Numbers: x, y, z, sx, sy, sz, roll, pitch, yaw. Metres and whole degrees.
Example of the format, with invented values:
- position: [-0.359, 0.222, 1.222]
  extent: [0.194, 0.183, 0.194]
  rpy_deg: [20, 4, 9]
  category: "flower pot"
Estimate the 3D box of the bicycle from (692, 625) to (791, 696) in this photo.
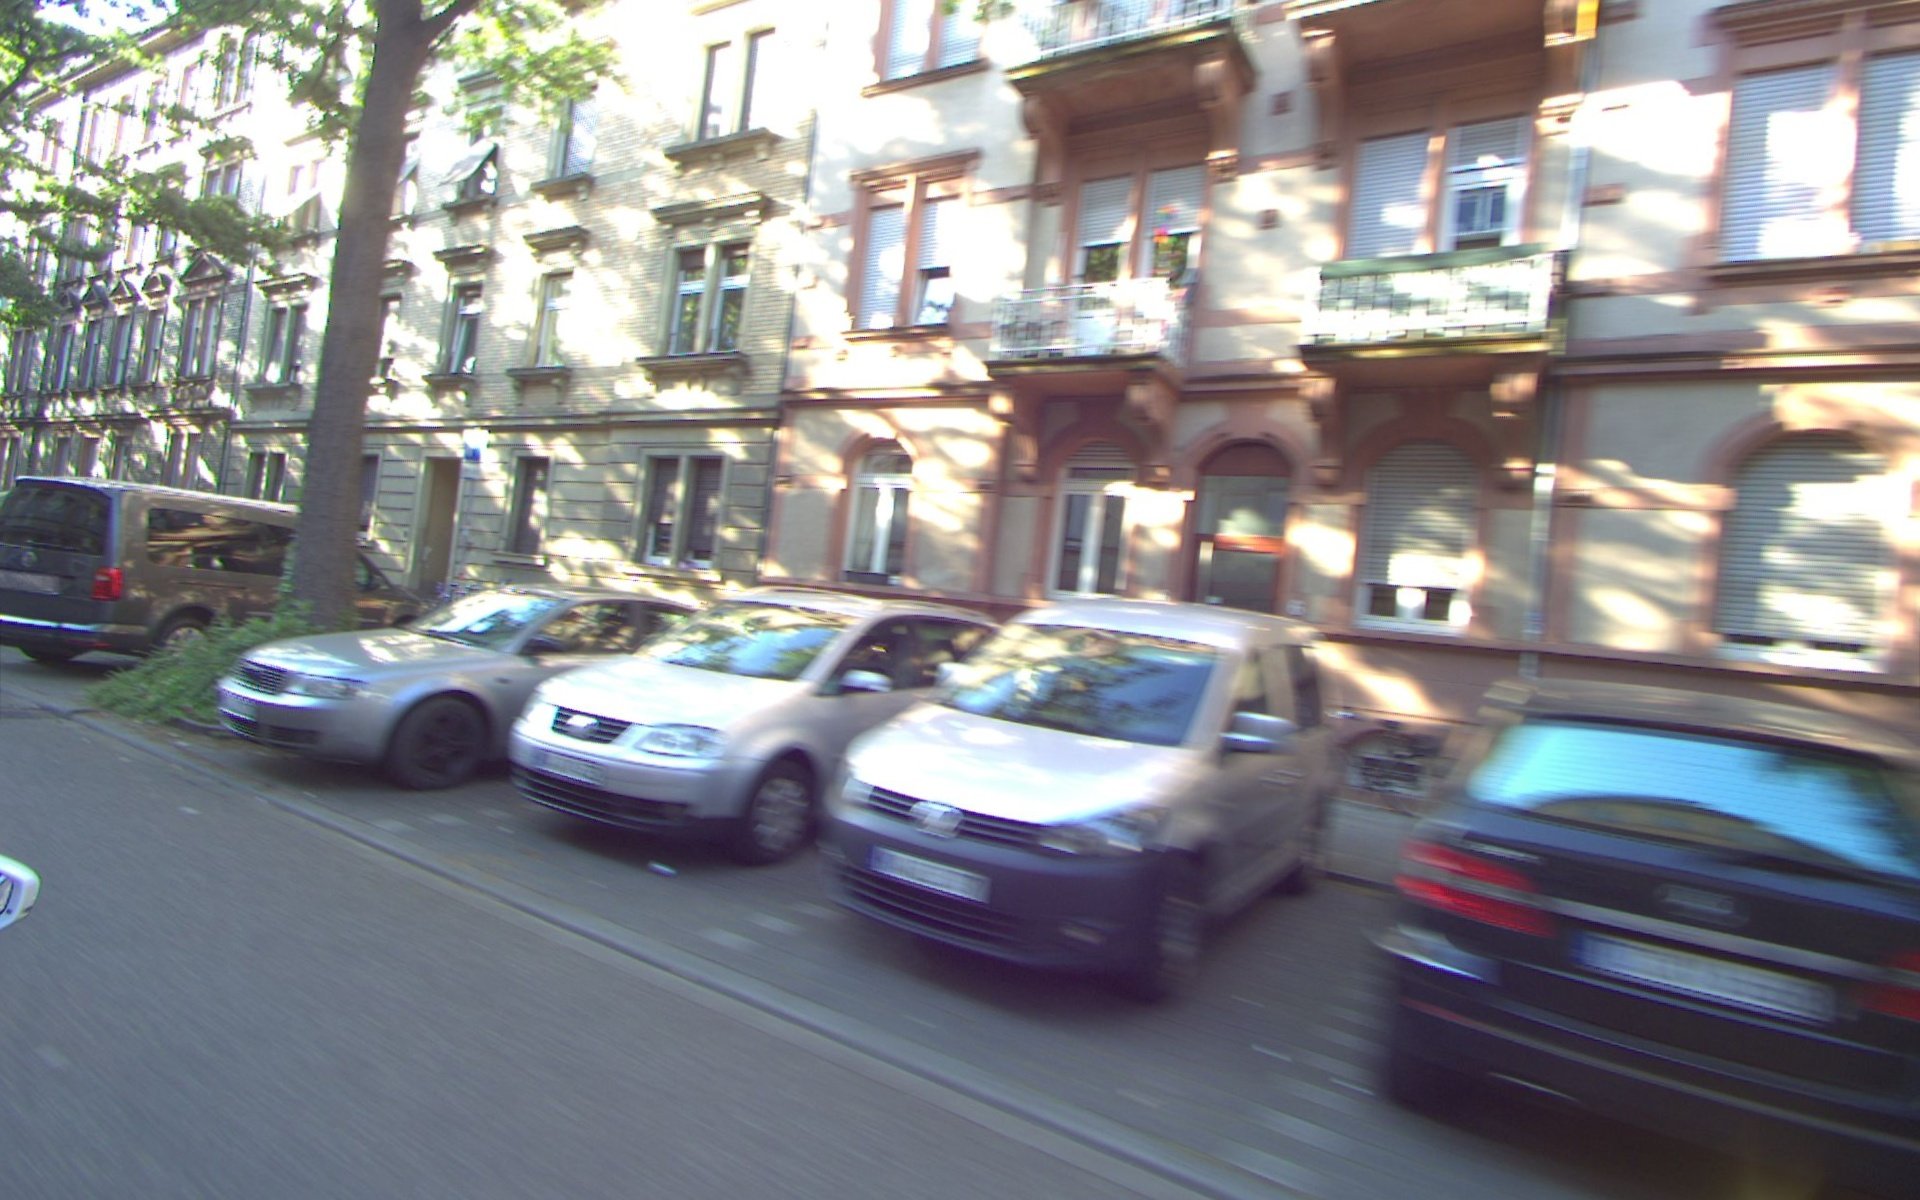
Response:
- position: [-3.286, 0.899, 15.060]
  extent: [1.554, 0.865, 0.362]
  rpy_deg: [6, -2, 33]
  category: "bicycle"

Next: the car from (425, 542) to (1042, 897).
- position: [-1.206, 0.710, 7.247]
  extent: [1.870, 1.623, 4.239]
  rpy_deg: [6, -1, 29]
  category: "car"

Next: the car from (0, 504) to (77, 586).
- position: [-19.584, -1.249, 18.817]
  extent: [1.904, 1.472, 4.151]
  rpy_deg: [6, -1, 30]
  category: "car"

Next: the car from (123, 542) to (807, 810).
- position: [-3.461, 0.560, 7.967]
  extent: [1.872, 1.384, 4.462]
  rpy_deg: [6, -1, 33]
  category: "car"

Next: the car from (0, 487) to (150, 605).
- position: [-17.224, -1.113, 17.678]
  extent: [1.914, 1.808, 4.132]
  rpy_deg: [6, -3, 33]
  category: "car"

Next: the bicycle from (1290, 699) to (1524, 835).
- position: [4.393, 1.612, 9.970]
  extent: [1.991, 0.972, 0.469]
  rpy_deg: [6, -3, 32]
  category: "bicycle"

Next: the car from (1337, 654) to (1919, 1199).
- position: [3.088, 1.165, 4.671]
  extent: [1.709, 1.608, 4.236]
  rpy_deg: [6, 0, 30]
  category: "car"

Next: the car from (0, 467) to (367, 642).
- position: [-11.137, -0.567, 13.547]
  extent: [2.138, 1.925, 4.928]
  rpy_deg: [6, 0, 28]
  category: "car"

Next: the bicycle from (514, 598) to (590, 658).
- position: [-7.166, 0.488, 17.662]
  extent: [1.554, 0.865, 0.307]
  rpy_deg: [6, -2, 33]
  category: "bicycle"

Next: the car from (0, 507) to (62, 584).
- position: [-21.366, -1.386, 20.611]
  extent: [1.658, 1.511, 3.998]
  rpy_deg: [6, -3, 29]
  category: "car"

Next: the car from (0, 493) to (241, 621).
- position: [-13.845, -0.717, 14.734]
  extent: [2.042, 1.653, 4.928]
  rpy_deg: [6, 0, 28]
  category: "car"

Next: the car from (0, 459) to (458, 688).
- position: [-8.161, -0.195, 11.343]
  extent: [1.871, 1.913, 4.682]
  rpy_deg: [7, -1, 10]
  category: "car"

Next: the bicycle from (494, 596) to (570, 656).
- position: [-7.437, 0.443, 17.446]
  extent: [1.554, 0.865, 0.307]
  rpy_deg: [6, -2, 33]
  category: "bicycle"

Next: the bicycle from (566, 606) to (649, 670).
- position: [-5.854, 0.622, 16.661]
  extent: [1.554, 0.865, 0.307]
  rpy_deg: [6, -2, 33]
  category: "bicycle"

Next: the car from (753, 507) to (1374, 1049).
- position: [1.022, 0.858, 5.920]
  extent: [1.753, 1.907, 4.242]
  rpy_deg: [6, -4, 32]
  category: "car"
